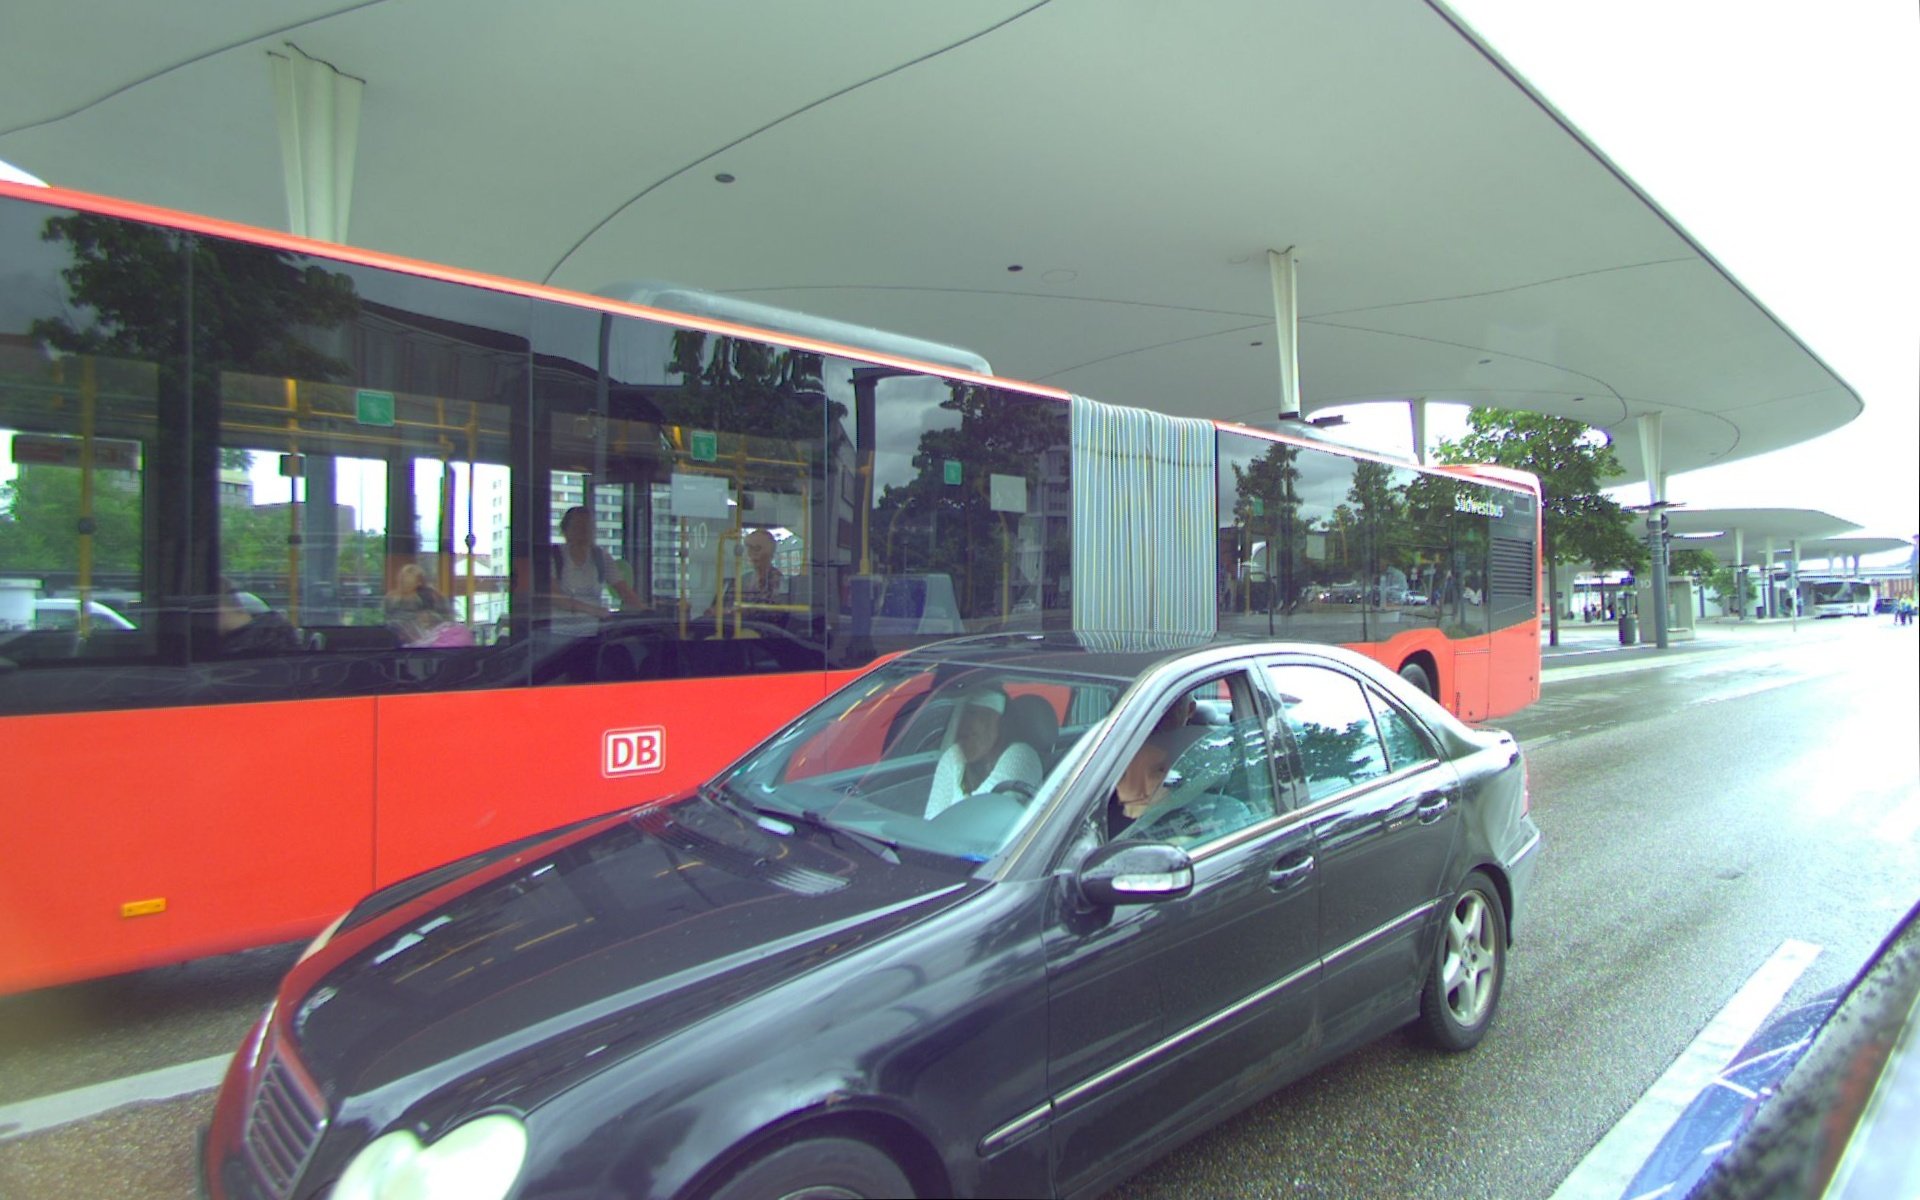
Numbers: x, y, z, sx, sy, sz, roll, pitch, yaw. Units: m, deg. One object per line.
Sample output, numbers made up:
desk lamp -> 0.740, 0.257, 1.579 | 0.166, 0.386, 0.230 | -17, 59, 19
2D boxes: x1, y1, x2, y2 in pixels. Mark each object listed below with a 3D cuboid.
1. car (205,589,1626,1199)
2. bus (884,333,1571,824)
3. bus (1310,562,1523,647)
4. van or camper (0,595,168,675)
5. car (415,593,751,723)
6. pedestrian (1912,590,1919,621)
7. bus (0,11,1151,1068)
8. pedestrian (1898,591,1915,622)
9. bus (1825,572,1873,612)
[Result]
car -> 0.331, 0.779, 3.253 | 4.356, 1.499, 1.749 | -1, -2, -39
bus -> 3.248, -0.154, 10.289 | 7.978, 3.214, 2.747 | 0, 0, -41
bus -> 20.015, 0.179, 43.776 | 12.130, 3.147, 3.001 | 0, -4, -38
van or camper -> -29.787, 1.107, 33.220 | 5.868, 2.495, 2.106 | 0, -1, -41
car -> -5.519, 0.762, 15.130 | 4.356, 1.670, 1.803 | 0, -2, -41
pedestrian -> 51.431, 0.299, 54.191 | 0.543, 1.645, 0.556 | 0, -1, -41
bus -> -3.402, -0.189, 4.477 | 10.016, 3.214, 2.747 | 0, 0, -41
pedestrian -> 51.061, 0.343, 54.607 | 0.577, 1.645, 0.576 | 0, -1, -41
bus -> 75.359, -0.641, 85.713 | 2.666, 3.169, 9.565 | -1, -1, 43
